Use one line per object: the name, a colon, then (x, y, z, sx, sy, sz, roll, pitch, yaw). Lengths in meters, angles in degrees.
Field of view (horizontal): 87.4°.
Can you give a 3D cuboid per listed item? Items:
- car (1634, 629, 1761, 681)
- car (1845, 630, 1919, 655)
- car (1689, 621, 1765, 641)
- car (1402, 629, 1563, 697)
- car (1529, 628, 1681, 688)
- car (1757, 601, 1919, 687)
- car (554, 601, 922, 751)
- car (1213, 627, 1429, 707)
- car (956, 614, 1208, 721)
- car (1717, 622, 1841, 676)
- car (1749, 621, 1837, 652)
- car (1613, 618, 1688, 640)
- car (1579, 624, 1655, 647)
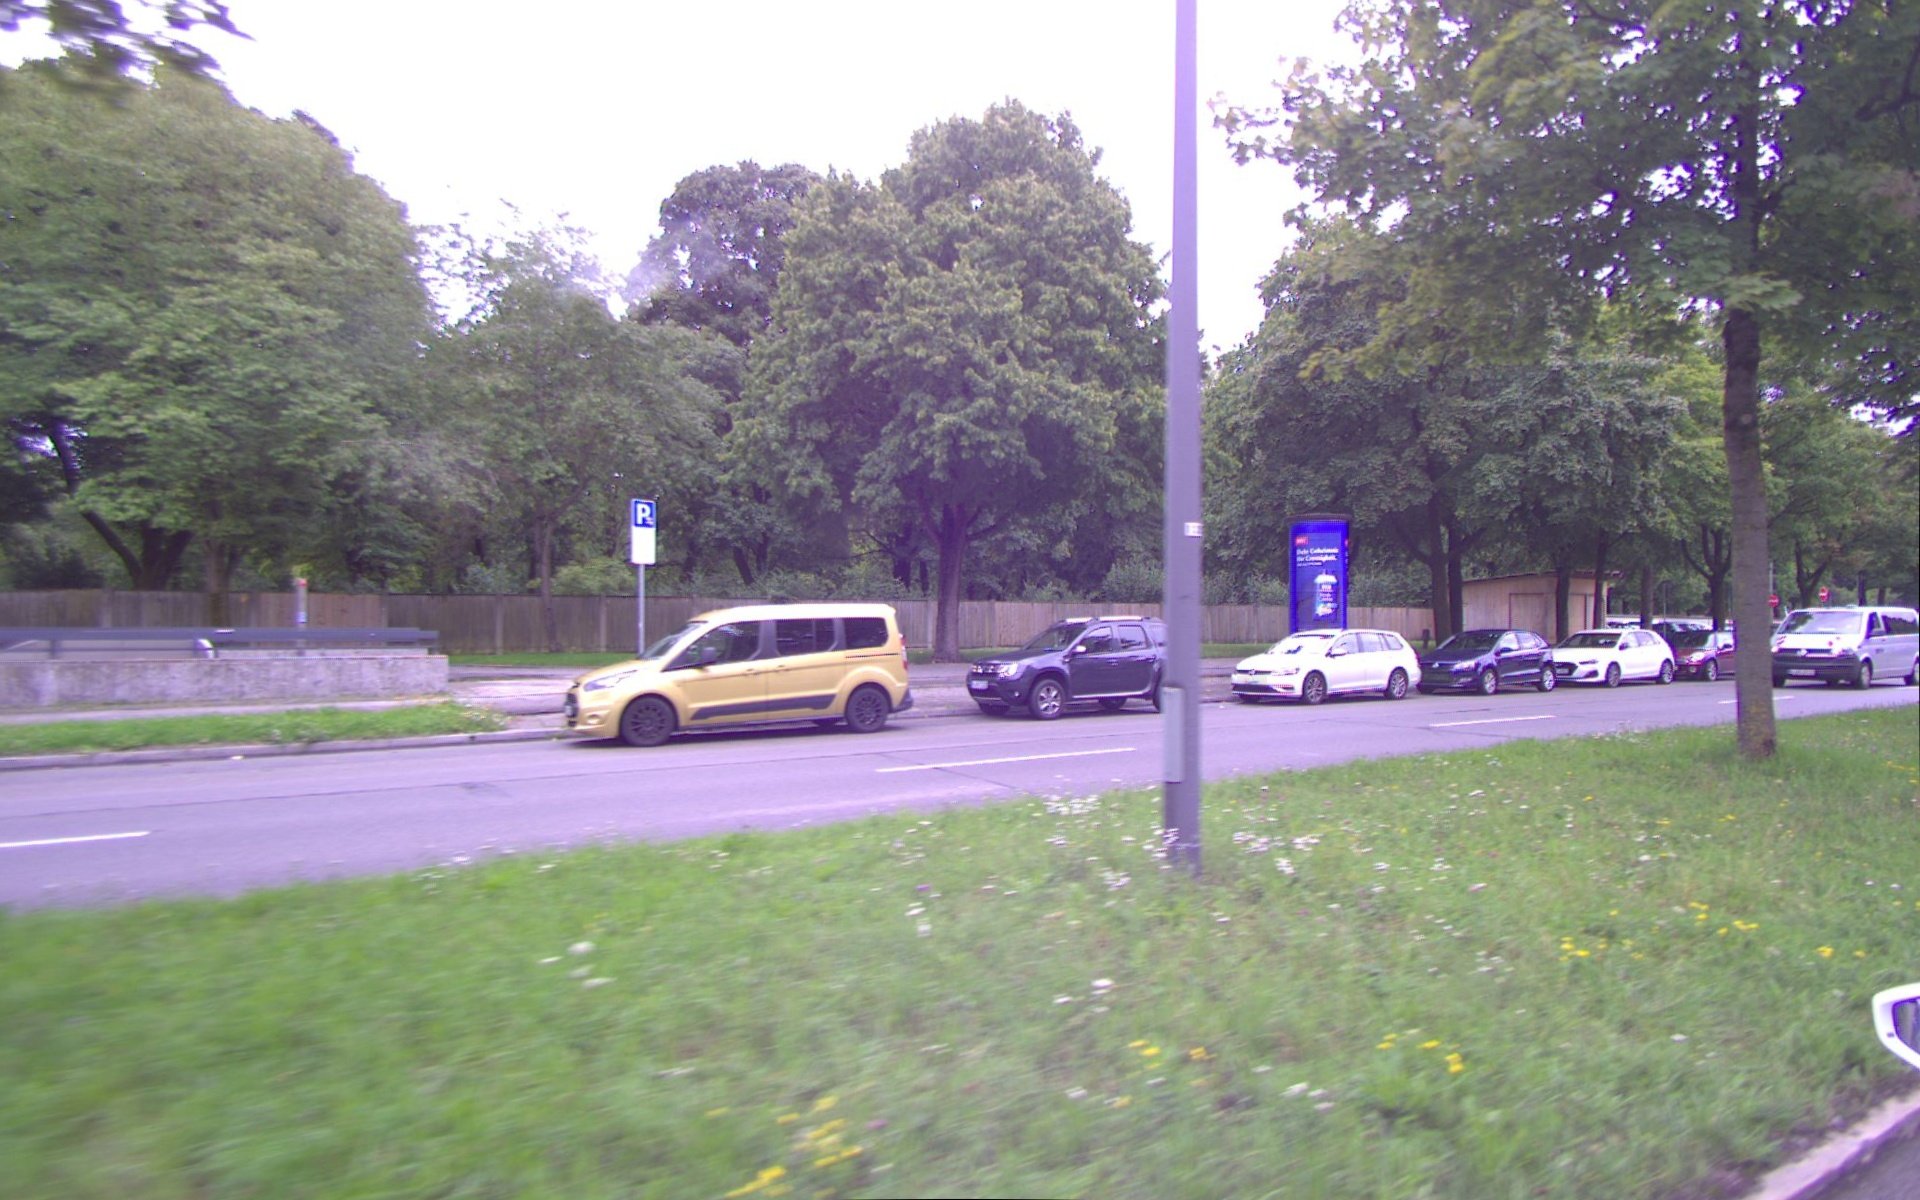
car: (21.287, 1.549, 28.963, 3.586, 1.415, 1.584, 1, -2, -29)
car: (62.891, 2.860, 68.289, 1.656, 1.465, 3.840, 1, 0, -35)
car: (62.622, 2.541, 82.132, 1.652, 1.465, 4.670, 1, 0, -29)
car: (12.091, 1.400, 23.173, 3.855, 1.436, 1.604, 1, -2, -33)
car: (16.927, 1.478, 26.322, 4.229, 1.463, 1.600, 1, -2, -31)
car: (21.881, 1.080, 24.832, 4.937, 1.959, 1.790, 1, -2, -32)
car: (-3.046, 0.971, 14.101, 4.760, 1.806, 1.806, 1, -2, -30)
car: (7.475, 1.309, 20.662, 4.481, 1.469, 1.754, 1, -2, -31)
car: (2.174, 1.115, 17.514, 4.207, 1.667, 1.728, 1, -2, -31)
car: (25.941, 1.526, 31.791, 4.321, 1.607, 1.682, 1, -2, -32)
car: (51.932, 2.264, 62.679, 1.656, 1.740, 3.892, 1, 0, -35)
car: (53.087, 2.236, 77.340, 1.652, 1.496, 4.486, 2, 0, -29)
car: (38.316, 2.050, 58.730, 1.639, 1.217, 4.421, 1, 0, 2)
